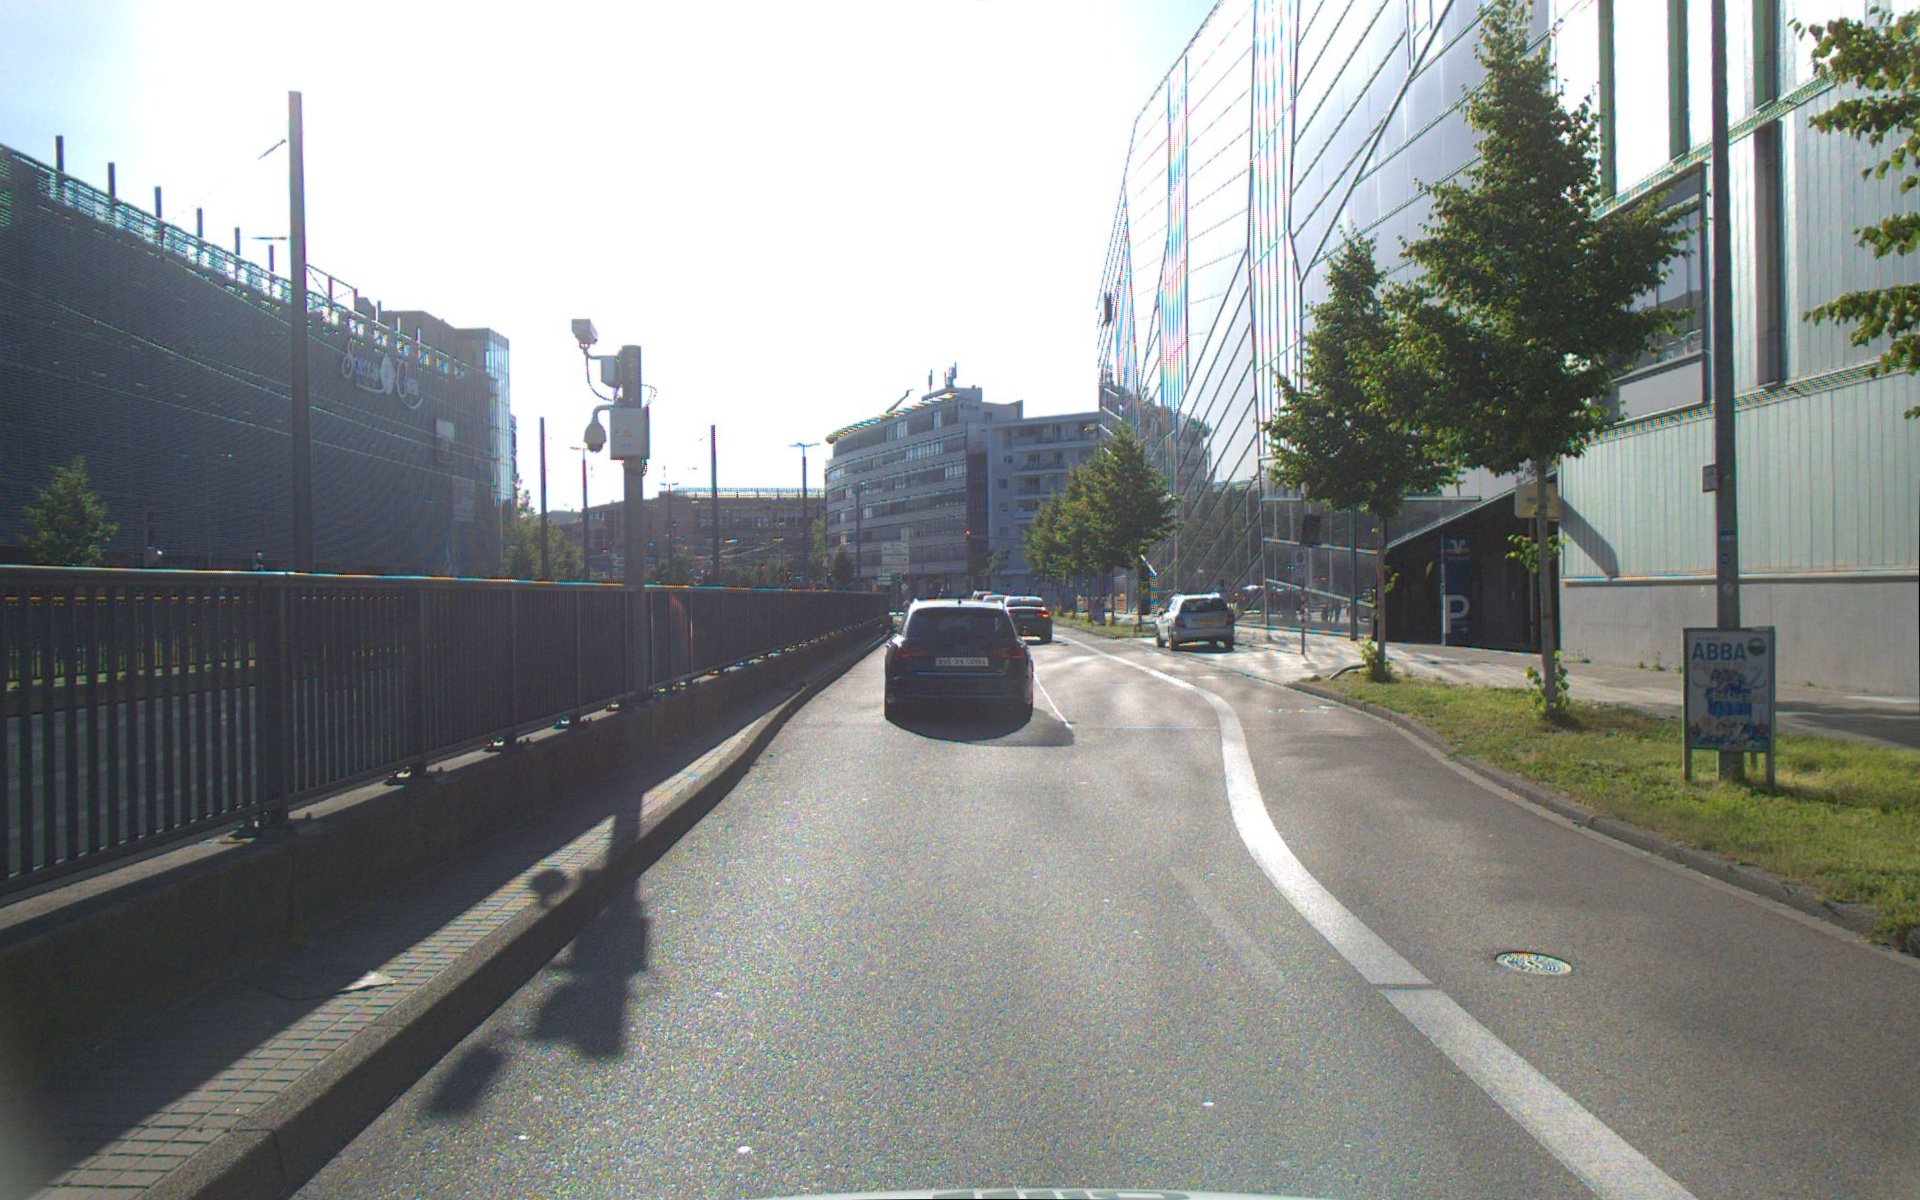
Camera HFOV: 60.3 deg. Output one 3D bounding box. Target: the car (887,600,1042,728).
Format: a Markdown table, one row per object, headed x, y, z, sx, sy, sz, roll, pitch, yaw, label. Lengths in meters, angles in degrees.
| x | y | z | sx | sy | sz | roll | pitch | yaw | label |
| --- | --- | --- | --- | --- | --- | --- | --- | --- | --- |
| 0.011 | 0.751 | 21.558 | 1.775 | 1.452 | 4.688 | -1 | 0 | -1 | car |

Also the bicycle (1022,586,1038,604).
| x | y | z | sx | sy | sz | roll | pitch | yaw | label |
| --- | --- | --- | --- | --- | --- | --- | --- | --- | --- |
| 4.741 | -0.330 | 112.572 | 0.710 | 1.204 | 2.090 | -2 | 0 | -7 | bicycle |

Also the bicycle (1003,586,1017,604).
| x | y | z | sx | sy | sz | roll | pitch | yaw | label |
| --- | --- | --- | --- | --- | --- | --- | --- | --- | --- |
| 3.387 | -0.331 | 111.220 | 0.710 | 1.204 | 2.092 | -2 | 0 | -4 | bicycle |

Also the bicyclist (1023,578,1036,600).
| x | y | z | sx | sy | sz | roll | pitch | yaw | label |
| --- | --- | --- | --- | --- | --- | --- | --- | --- | --- |
| 4.739 | -0.767 | 112.595 | 0.710 | 1.443 | 0.890 | -2 | 0 | -7 | bicyclist |

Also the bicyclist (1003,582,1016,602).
| x | y | z | sx | sy | sz | roll | pitch | yaw | label |
| --- | --- | --- | --- | --- | --- | --- | --- | --- | --- |
| 3.318 | -0.520 | 111.211 | 0.710 | 1.291 | 1.035 | -2 | 0 | -4 | bicyclist |

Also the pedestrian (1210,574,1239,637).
| x | y | z | sx | sy | sz | roll | pitch | yaw | label |
| --- | --- | --- | --- | --- | --- | --- | --- | --- | --- |
| 8.810 | 0.174 | 55.159 | 0.819 | 2.049 | 0.689 | -2 | 0 | 0 | pedestrian |

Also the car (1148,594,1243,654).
| x | y | z | sx | sy | sz | roll | pitch | yaw | label |
| --- | --- | --- | --- | --- | --- | --- | --- | --- | --- |
| 6.523 | 0.624 | 46.286 | 1.815 | 1.506 | 4.853 | -2 | 0 | -1 | car |

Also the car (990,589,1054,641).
| x | y | z | sx | sy | sz | roll | pitch | yaw | label |
| --- | --- | --- | --- | --- | --- | --- | --- | --- | --- |
| 1.954 | 0.457 | 52.977 | 1.815 | 1.573 | 3.999 | 1 | 0 | -1 | car |

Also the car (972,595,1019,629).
| x | y | z | sx | sy | sz | roll | pitch | yaw | label |
| --- | --- | --- | --- | --- | --- | --- | --- | --- | --- |
| 1.607 | 0.526 | 76.508 | 1.953 | 1.491 | 3.999 | 0 | 1 | -2 | car |
